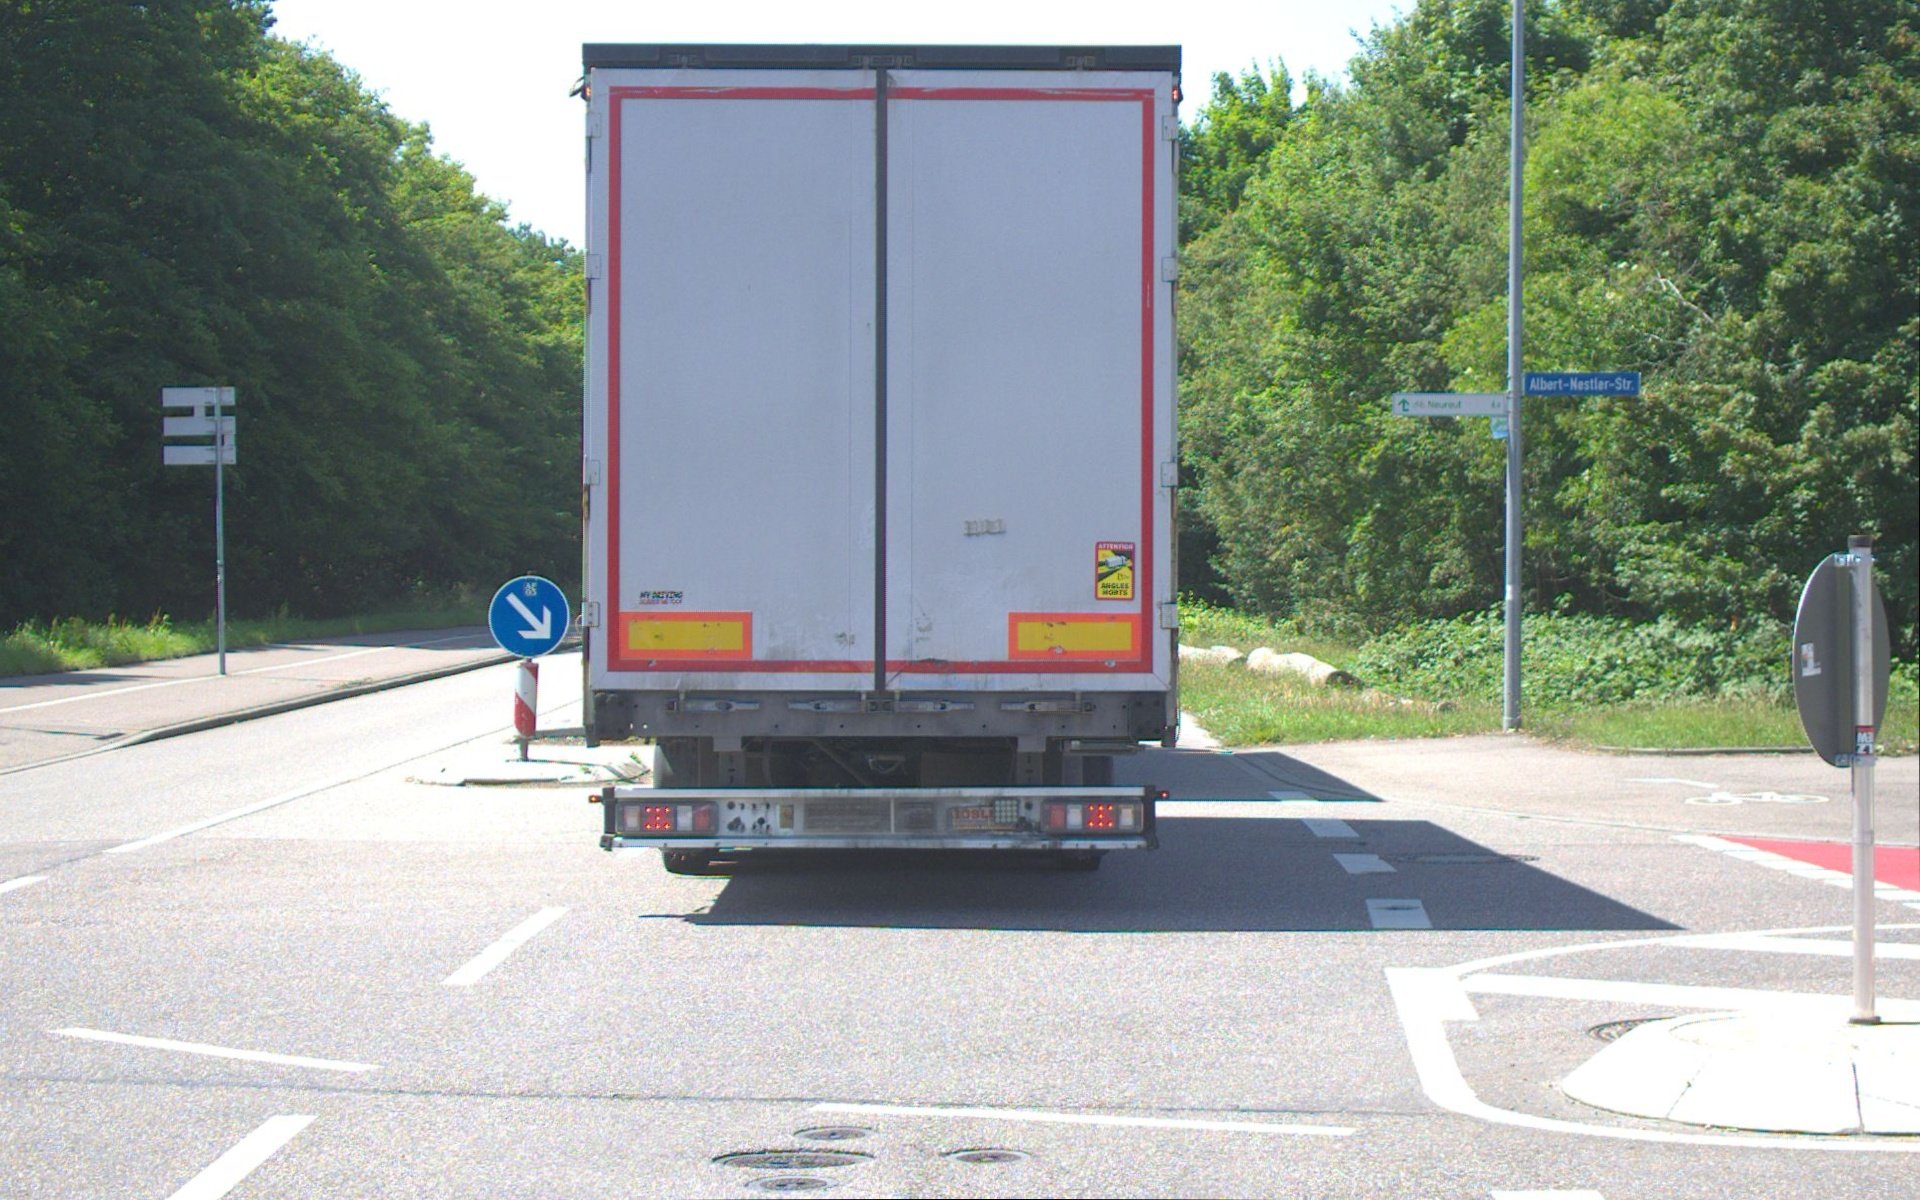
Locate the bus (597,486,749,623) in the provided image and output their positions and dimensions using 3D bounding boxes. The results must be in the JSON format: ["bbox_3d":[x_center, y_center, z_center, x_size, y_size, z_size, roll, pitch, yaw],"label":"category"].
[{"bbox_3d":[-6.929,-1.122,84.629,2.749,3.035,11.939,-2,1,-1],"label":"bus"}]

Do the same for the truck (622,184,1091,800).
[{"bbox_3d":[-0.850,-0.765,26.787,3.077,4.056,7.960,0,1,-2],"label":"truck"}]

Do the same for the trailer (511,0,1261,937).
[{"bbox_3d":[-0.503,-0.676,19.158,3.077,4.056,9.810,0,0,-2],"label":"trailer"}]
